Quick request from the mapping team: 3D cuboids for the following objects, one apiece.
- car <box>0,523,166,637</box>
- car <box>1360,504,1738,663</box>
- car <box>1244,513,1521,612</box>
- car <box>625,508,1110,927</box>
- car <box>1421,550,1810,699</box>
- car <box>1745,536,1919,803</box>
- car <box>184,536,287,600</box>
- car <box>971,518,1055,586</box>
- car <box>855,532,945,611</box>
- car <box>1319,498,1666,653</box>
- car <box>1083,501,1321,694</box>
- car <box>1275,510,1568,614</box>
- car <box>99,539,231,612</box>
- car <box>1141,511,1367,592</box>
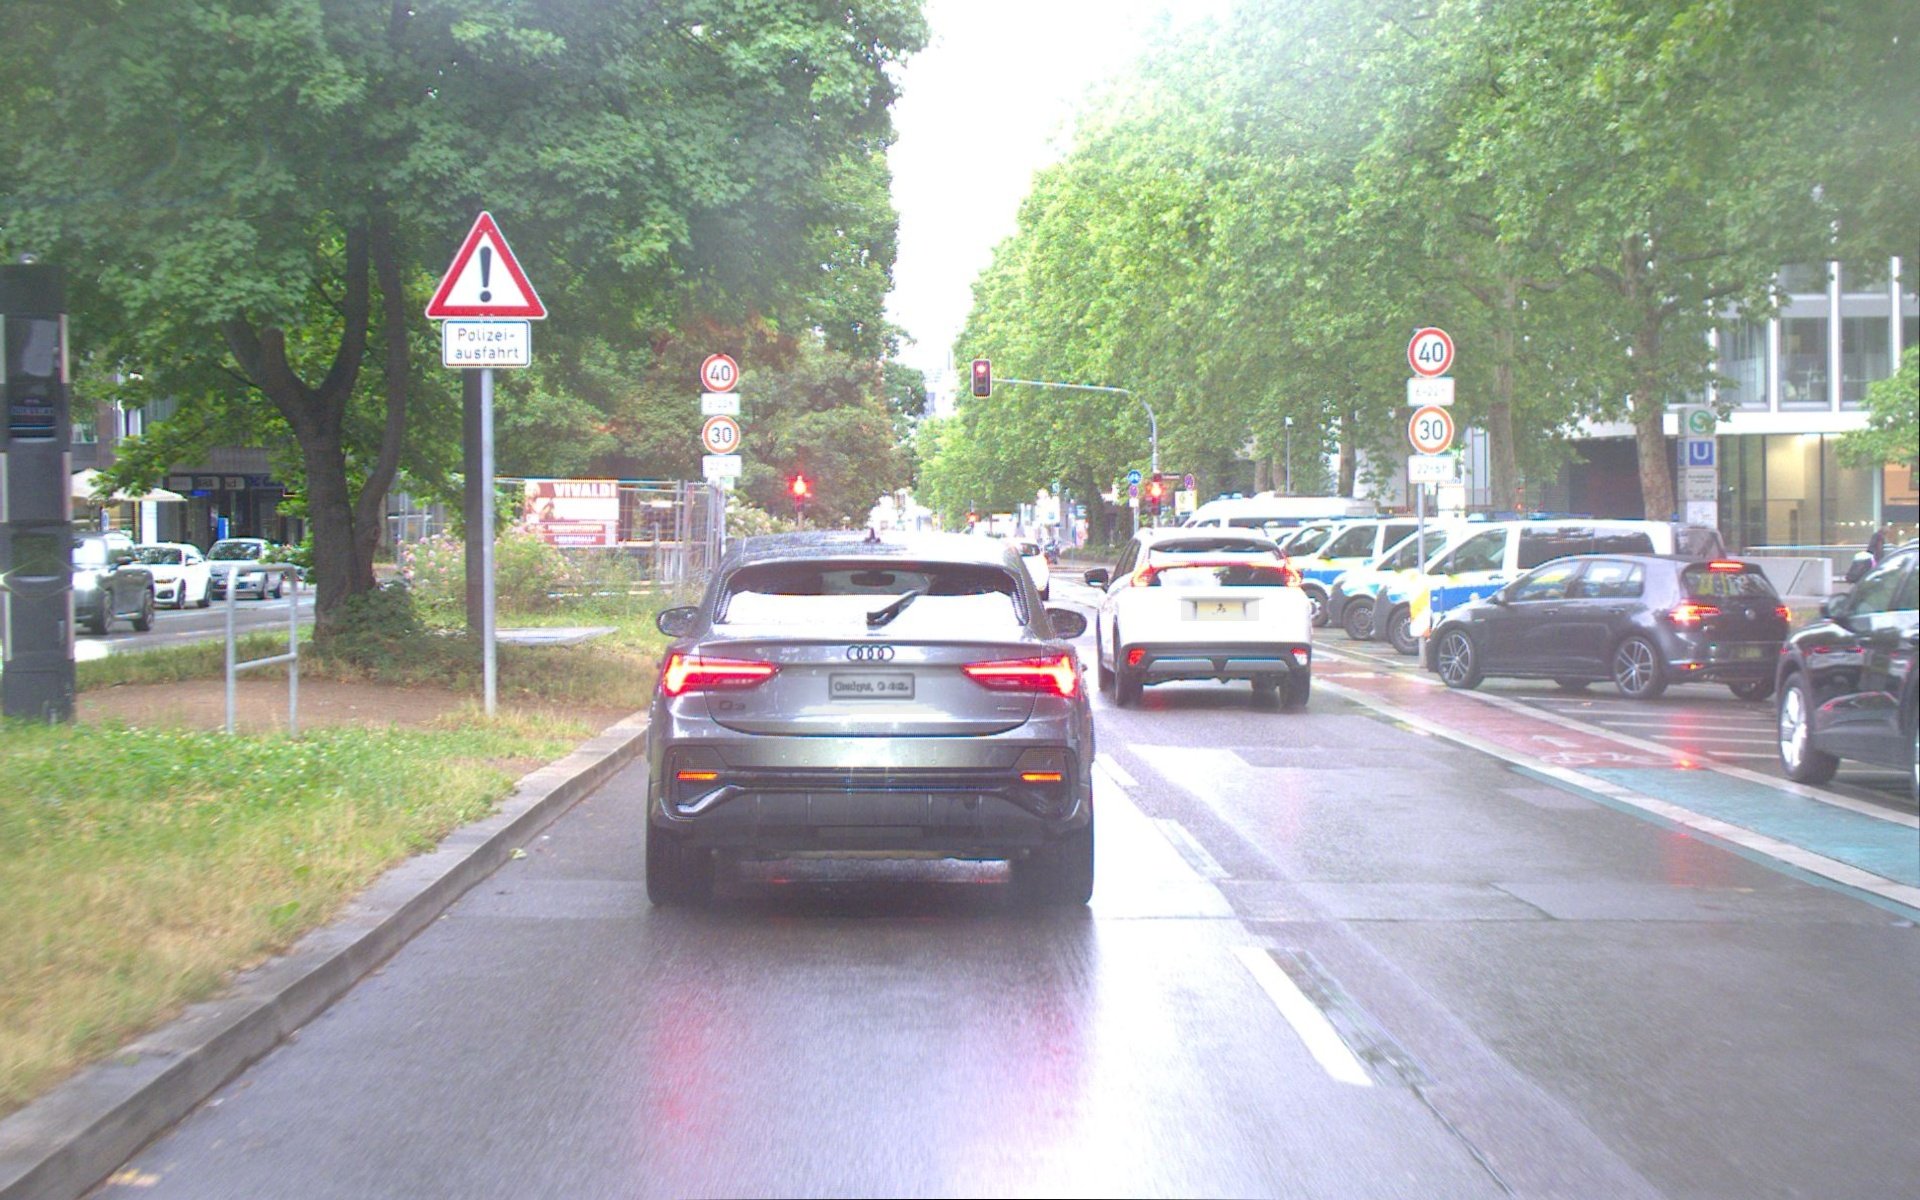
[{"bbox_3d":[-14.028,-0.325,54.488,1.760,1.698,4.333,1,0,1],"label":"car"},{"bbox_3d":[7.922,-0.246,46.412,4.602,2.007,1.964,2,1,37],"label":"car"},{"bbox_3d":[7.800,-0.701,63.537,4.645,1.700,1.997,2,1,27],"label":"car"},{"bbox_3d":[-0.430,0.418,15.210,1.849,1.596,4.001,1,1,-2],"label":"car"},{"bbox_3d":[6.517,0.218,34.537,1.558,1.374,3.870,1,1,-33],"label":"car"},{"bbox_3d":[6.207,0.399,20.820,1.695,1.518,4.024,1,0,-4],"label":"car"},{"bbox_3d":[-17.927,-0.785,85.236,1.726,1.513,4.000,1,0,-1],"label":"car"},{"bbox_3d":[1.324,-1.217,87.999,1.993,1.645,4.000,1,0,-1],"label":"car"},{"bbox_3d":[-1.405,-0.662,79.649,1.993,1.720,4.000,1,0,-2],"label":"car"},{"bbox_3d":[8.239,-0.399,53.272,4.888,2.246,1.997,2,0,28],"label":"car"},{"bbox_3d":[2.257,-0.040,33.040,1.878,1.691,4.000,1,0,-1],"label":"car"},{"bbox_3d":[8.059,-0.663,60.067,4.645,1.700,1.997,2,1,27],"label":"car"},{"bbox_3d":[-17.340,-0.529,75.164,1.726,1.513,4.000,1,0,3],"label":"car"},{"bbox_3d":[6.635,-1.088,77.561,4.645,1.700,1.997,2,1,27],"label":"car"}]
